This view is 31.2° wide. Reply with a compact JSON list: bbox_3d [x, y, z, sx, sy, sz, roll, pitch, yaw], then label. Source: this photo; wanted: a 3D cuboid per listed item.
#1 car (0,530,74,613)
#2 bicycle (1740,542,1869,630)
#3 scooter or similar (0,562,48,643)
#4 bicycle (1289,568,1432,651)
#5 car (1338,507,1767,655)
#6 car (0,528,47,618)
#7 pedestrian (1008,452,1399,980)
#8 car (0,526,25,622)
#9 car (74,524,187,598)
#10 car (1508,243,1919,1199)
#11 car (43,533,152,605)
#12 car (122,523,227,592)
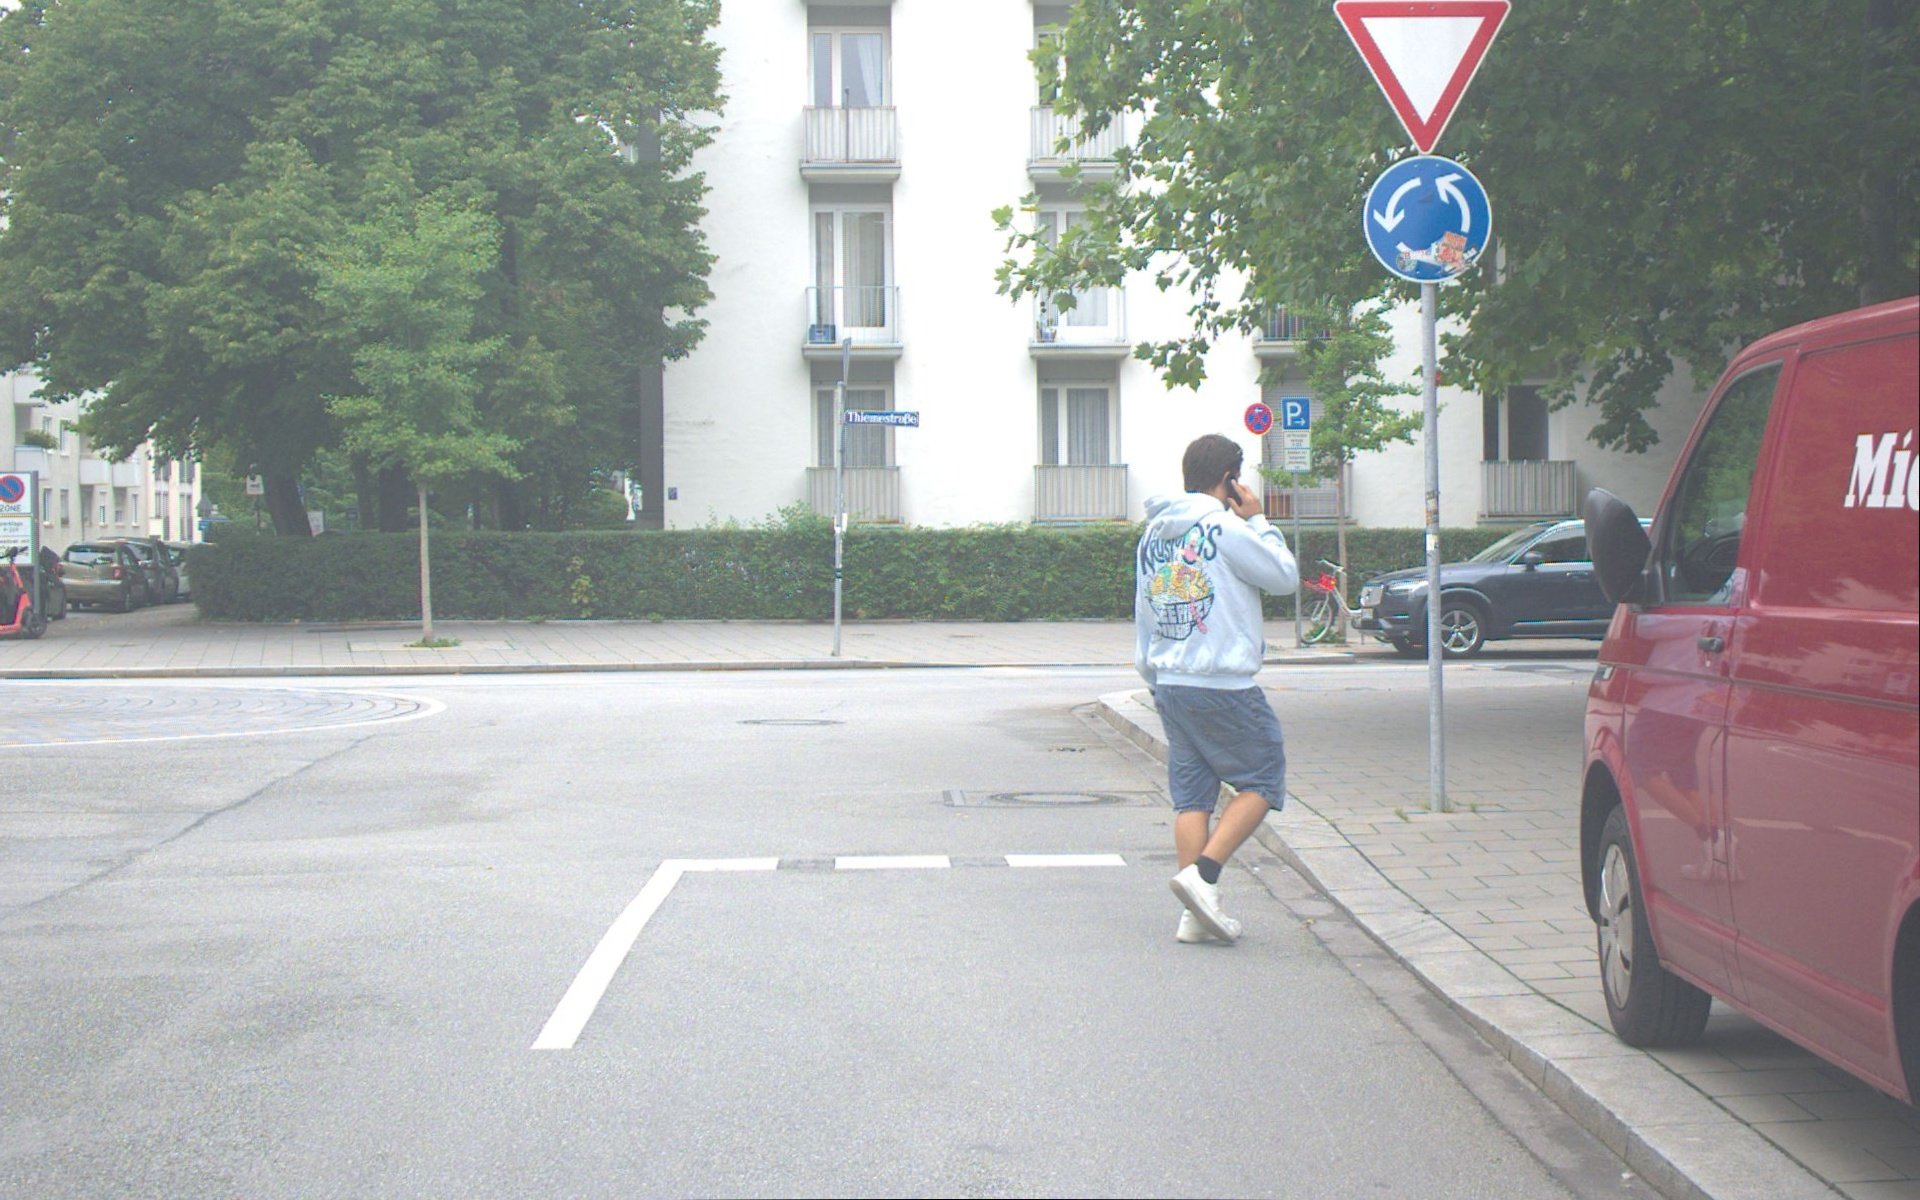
[{"bbox_3d":[-17.859,-0.551,64.935,1.793,1.500,4.116,-2,1,-9],"label":"car"},{"bbox_3d":[11.297,-0.197,46.029,0.536,1.145,1.830,-1,2,-32],"label":"bicycle"},{"bbox_3d":[-12.997,0.034,46.916,0.999,1.085,0.390,-1,1,-32],"label":"scooter or similar"},{"bbox_3d":[5.285,0.121,45.367,1.824,1.045,0.492,-1,1,-15],"label":"bicycle"},{"bbox_3d":[7.386,-0.243,43.079,4.896,1.786,2.000,0,0,-9],"label":"car"},{"bbox_3d":[-16.876,-0.470,59.221,1.793,1.500,4.116,-2,1,-9],"label":"car"},{"bbox_3d":[0.856,0.373,12.154,1.049,1.765,0.876,-1,1,-34],"label":"pedestrian"},{"bbox_3d":[-16.048,-0.404,54.699,1.793,1.500,4.236,-2,1,-9],"label":"car"},{"bbox_3d":[-19.412,-0.939,80.589,1.835,1.629,4.116,-2,1,-4],"label":"car"},{"bbox_3d":[2.669,0.272,7.861,1.873,1.914,4.888,1,1,-2],"label":"car"},{"bbox_3d":[-19.040,-0.711,75.993,1.835,1.500,4.116,-2,1,-8],"label":"car"},{"bbox_3d":[-19.676,-1.074,86.251,1.835,1.629,3.820,-2,1,-2],"label":"car"}]
